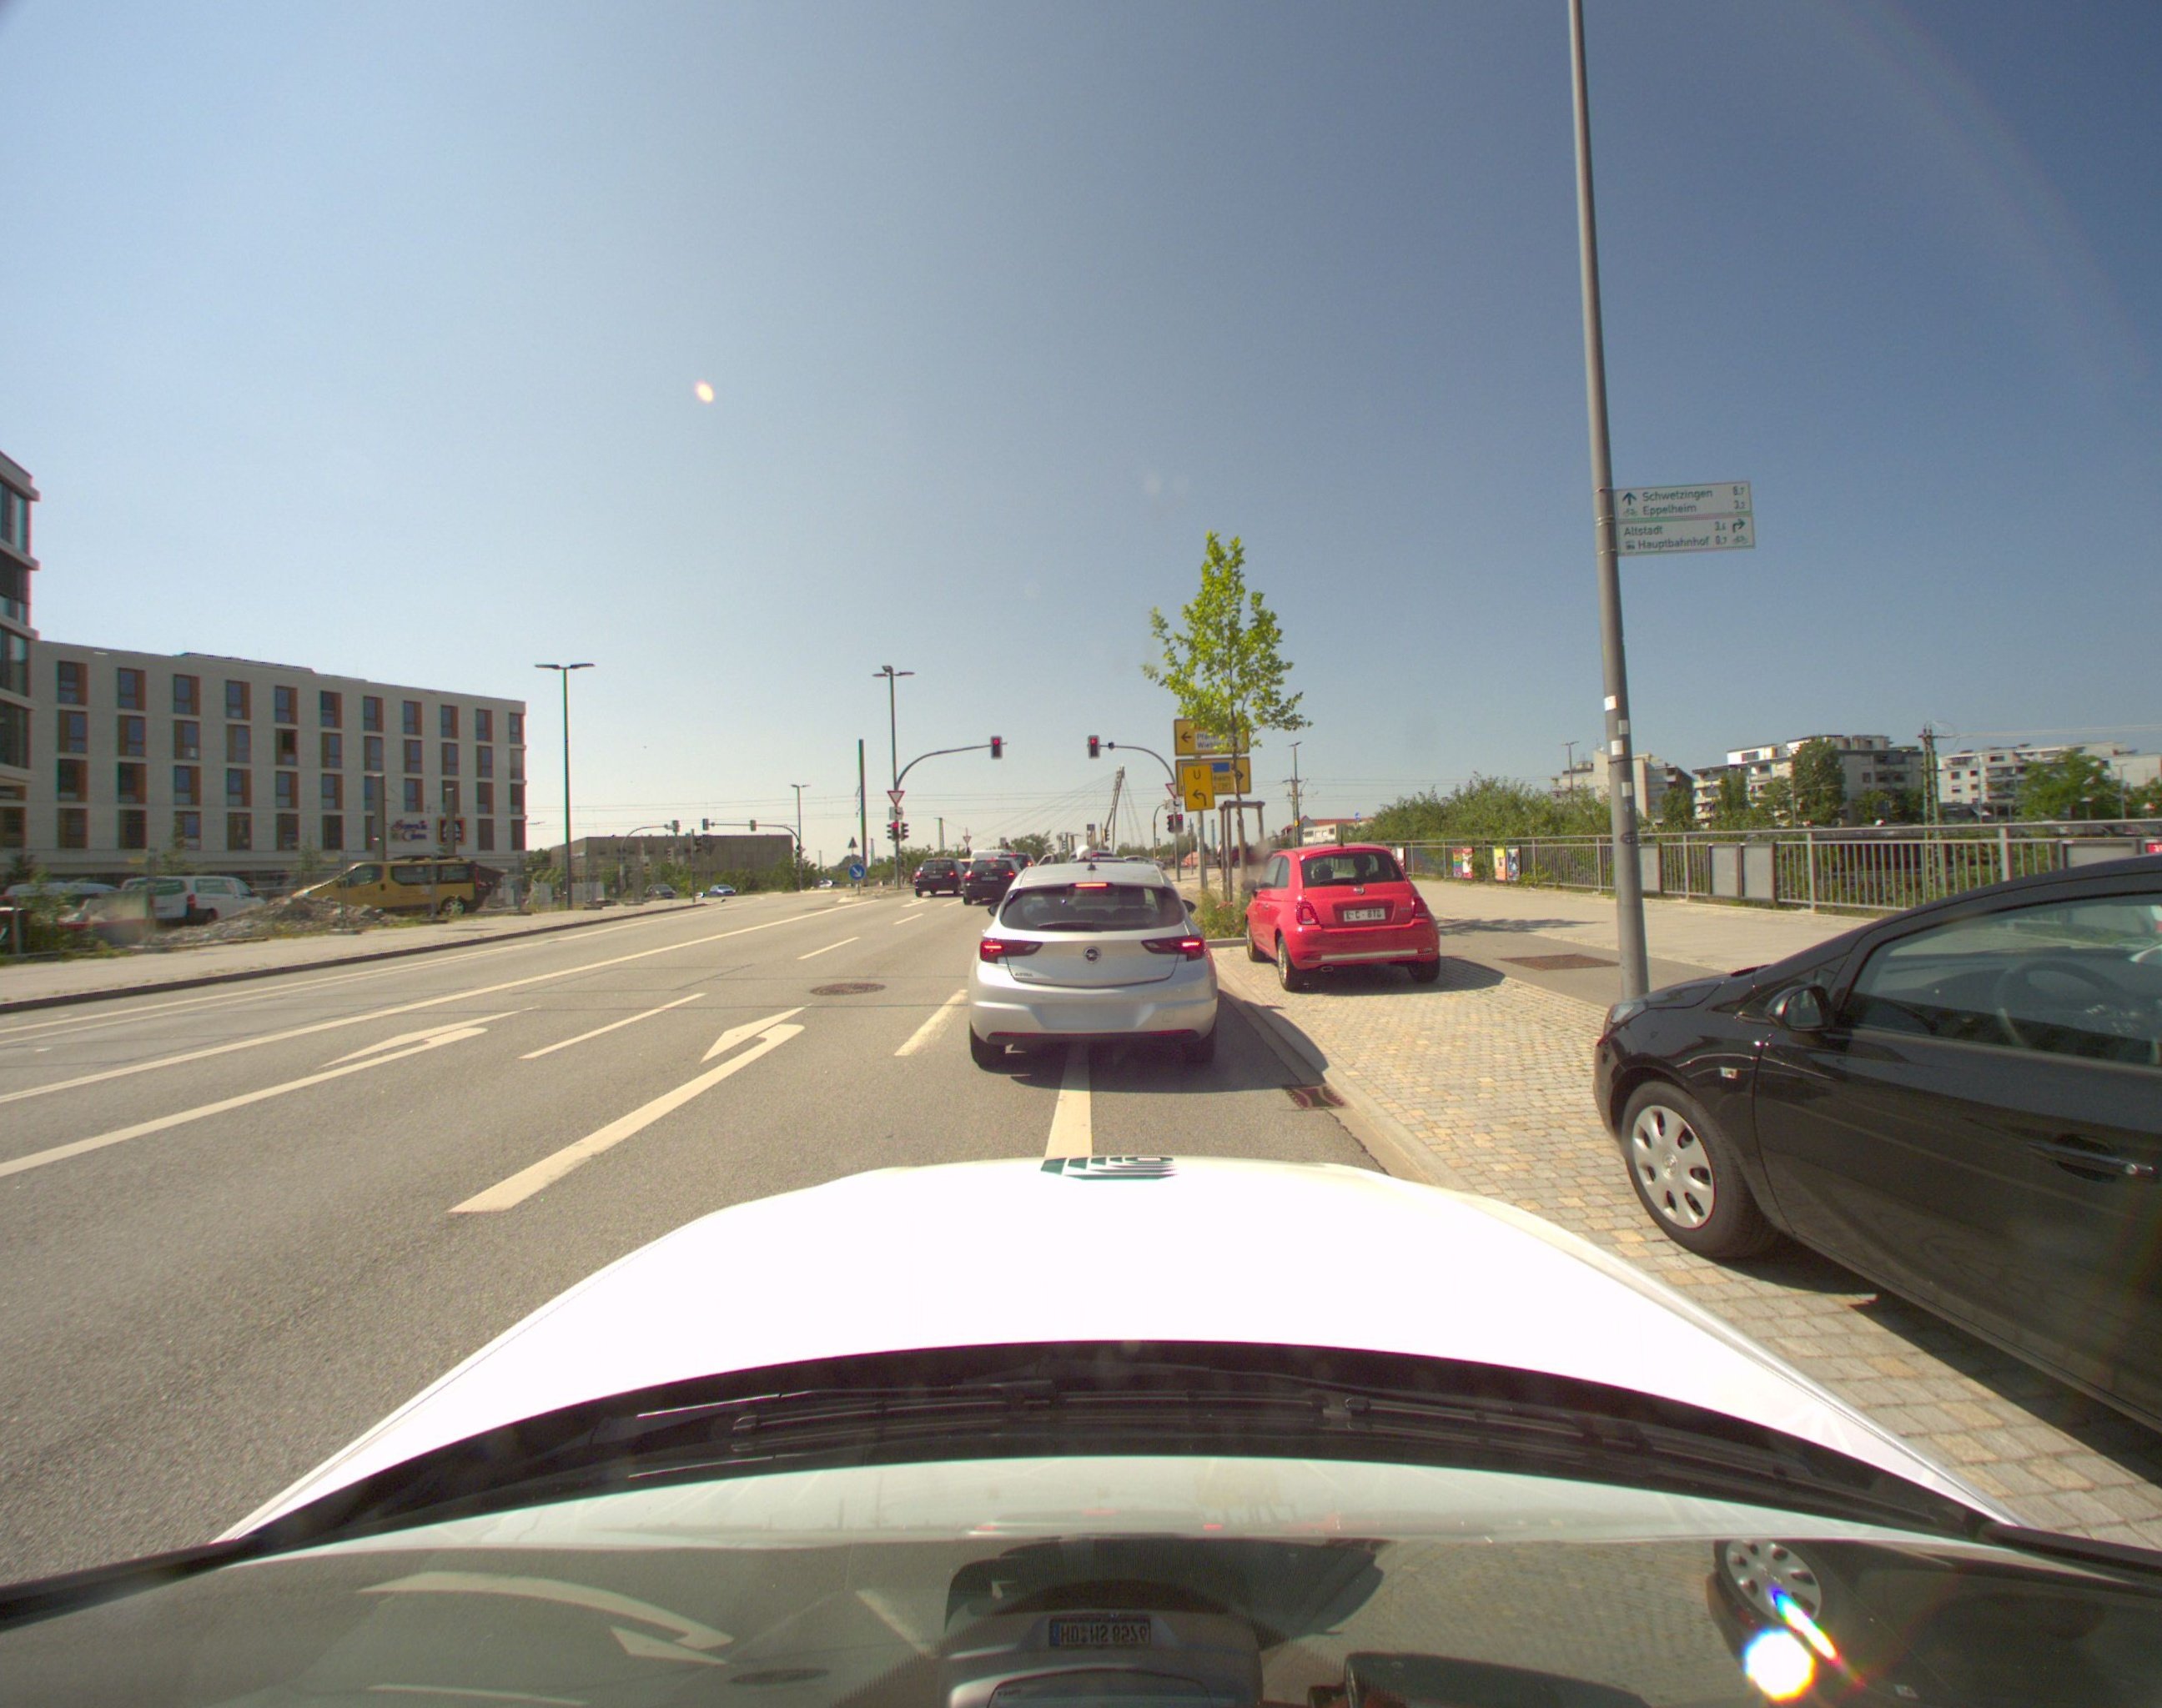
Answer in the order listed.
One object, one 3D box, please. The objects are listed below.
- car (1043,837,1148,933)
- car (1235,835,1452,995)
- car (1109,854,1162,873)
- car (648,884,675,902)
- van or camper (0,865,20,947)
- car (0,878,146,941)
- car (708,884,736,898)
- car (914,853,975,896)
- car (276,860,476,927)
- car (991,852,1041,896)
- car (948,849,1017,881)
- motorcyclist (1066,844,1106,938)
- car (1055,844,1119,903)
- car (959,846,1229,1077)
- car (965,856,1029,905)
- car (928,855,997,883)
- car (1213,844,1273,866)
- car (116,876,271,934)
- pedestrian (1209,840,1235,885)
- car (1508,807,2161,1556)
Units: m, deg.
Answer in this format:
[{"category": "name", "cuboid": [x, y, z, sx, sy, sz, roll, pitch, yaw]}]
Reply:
[{"category": "car", "cuboid": [0.349, 0.566, 17.667, 1.986, 1.820, 4.404, 0, 0, 2]}, {"category": "car", "cuboid": [2.931, 0.603, 9.803, 1.603, 1.496, 3.355, -4, 0, 3]}, {"category": "car", "cuboid": [4.179, 0.737, 63.451, 3.976, 1.483, 1.999, 0, -1, -2]}, {"category": "car", "cuboid": [-38.489, 3.535, 74.730, 1.686, 1.476, 3.368, -2, 0, -37]}, {"category": "van or camper", "cuboid": [-36.426, 1.724, 25.248, 2.318, 2.735, 4.944, 0, -1, -26]}, {"category": "car", "cuboid": [-33.664, 1.779, 27.225, 1.794, 1.857, 3.817, 0, -1, -26]}, {"category": "car", "cuboid": [-38.126, 3.944, 86.548, 1.831, 1.331, 3.954, 0, -2, -38]}, {"category": "car", "cuboid": [-5.168, 0.770, 31.341, 1.591, 1.547, 3.764, 0, -1, 2]}, {"category": "car", "cuboid": [-22.739, 1.198, 26.438, 1.964, 1.962, 4.655, -1, -1, 40]}, {"category": "car", "cuboid": [-2.479, 0.740, 31.824, 1.644, 1.615, 3.819, 0, -1, 0]}, {"category": "car", "cuboid": [-7.721, 0.833, 63.783, 4.965, 2.376, 1.790, -1, -1, 13]}, {"category": "motorcyclist", "cuboid": [0.082, 0.546, 12.401, 0.579, 1.389, 0.707, 0, -1, 1]}, {"category": "car", "cuboid": [0.228, 0.507, 23.937, 1.717, 1.563, 4.002, 0, 1, 2]}, {"category": "car", "cuboid": [0.066, 0.707, 7.272, 1.738, 1.478, 3.998, 0, -1, -1]}, {"category": "car", "cuboid": [-2.599, 0.787, 25.923, 1.569, 1.434, 3.786, 0, -1, 1]}, {"category": "car", "cuboid": [-8.920, 1.124, 61.446, 4.665, 2.014, 2.009, -1, -1, 17]}, {"category": "car", "cuboid": [12.702, 0.082, 63.797, 4.273, 1.631, 1.750, -1, -1, -9]}, {"category": "car", "cuboid": [-31.029, 1.697, 28.686, 1.873, 1.774, 4.619, 0, -1, -22]}, {"category": "pedestrian", "cuboid": [5.888, 0.369, 34.035, 0.801, 1.836, 0.642, -1, -1, -36]}, {"category": "car", "cuboid": [2.880, 0.595, 1.944, 1.654, 1.426, 4.001, -3, -1, 2]}]
